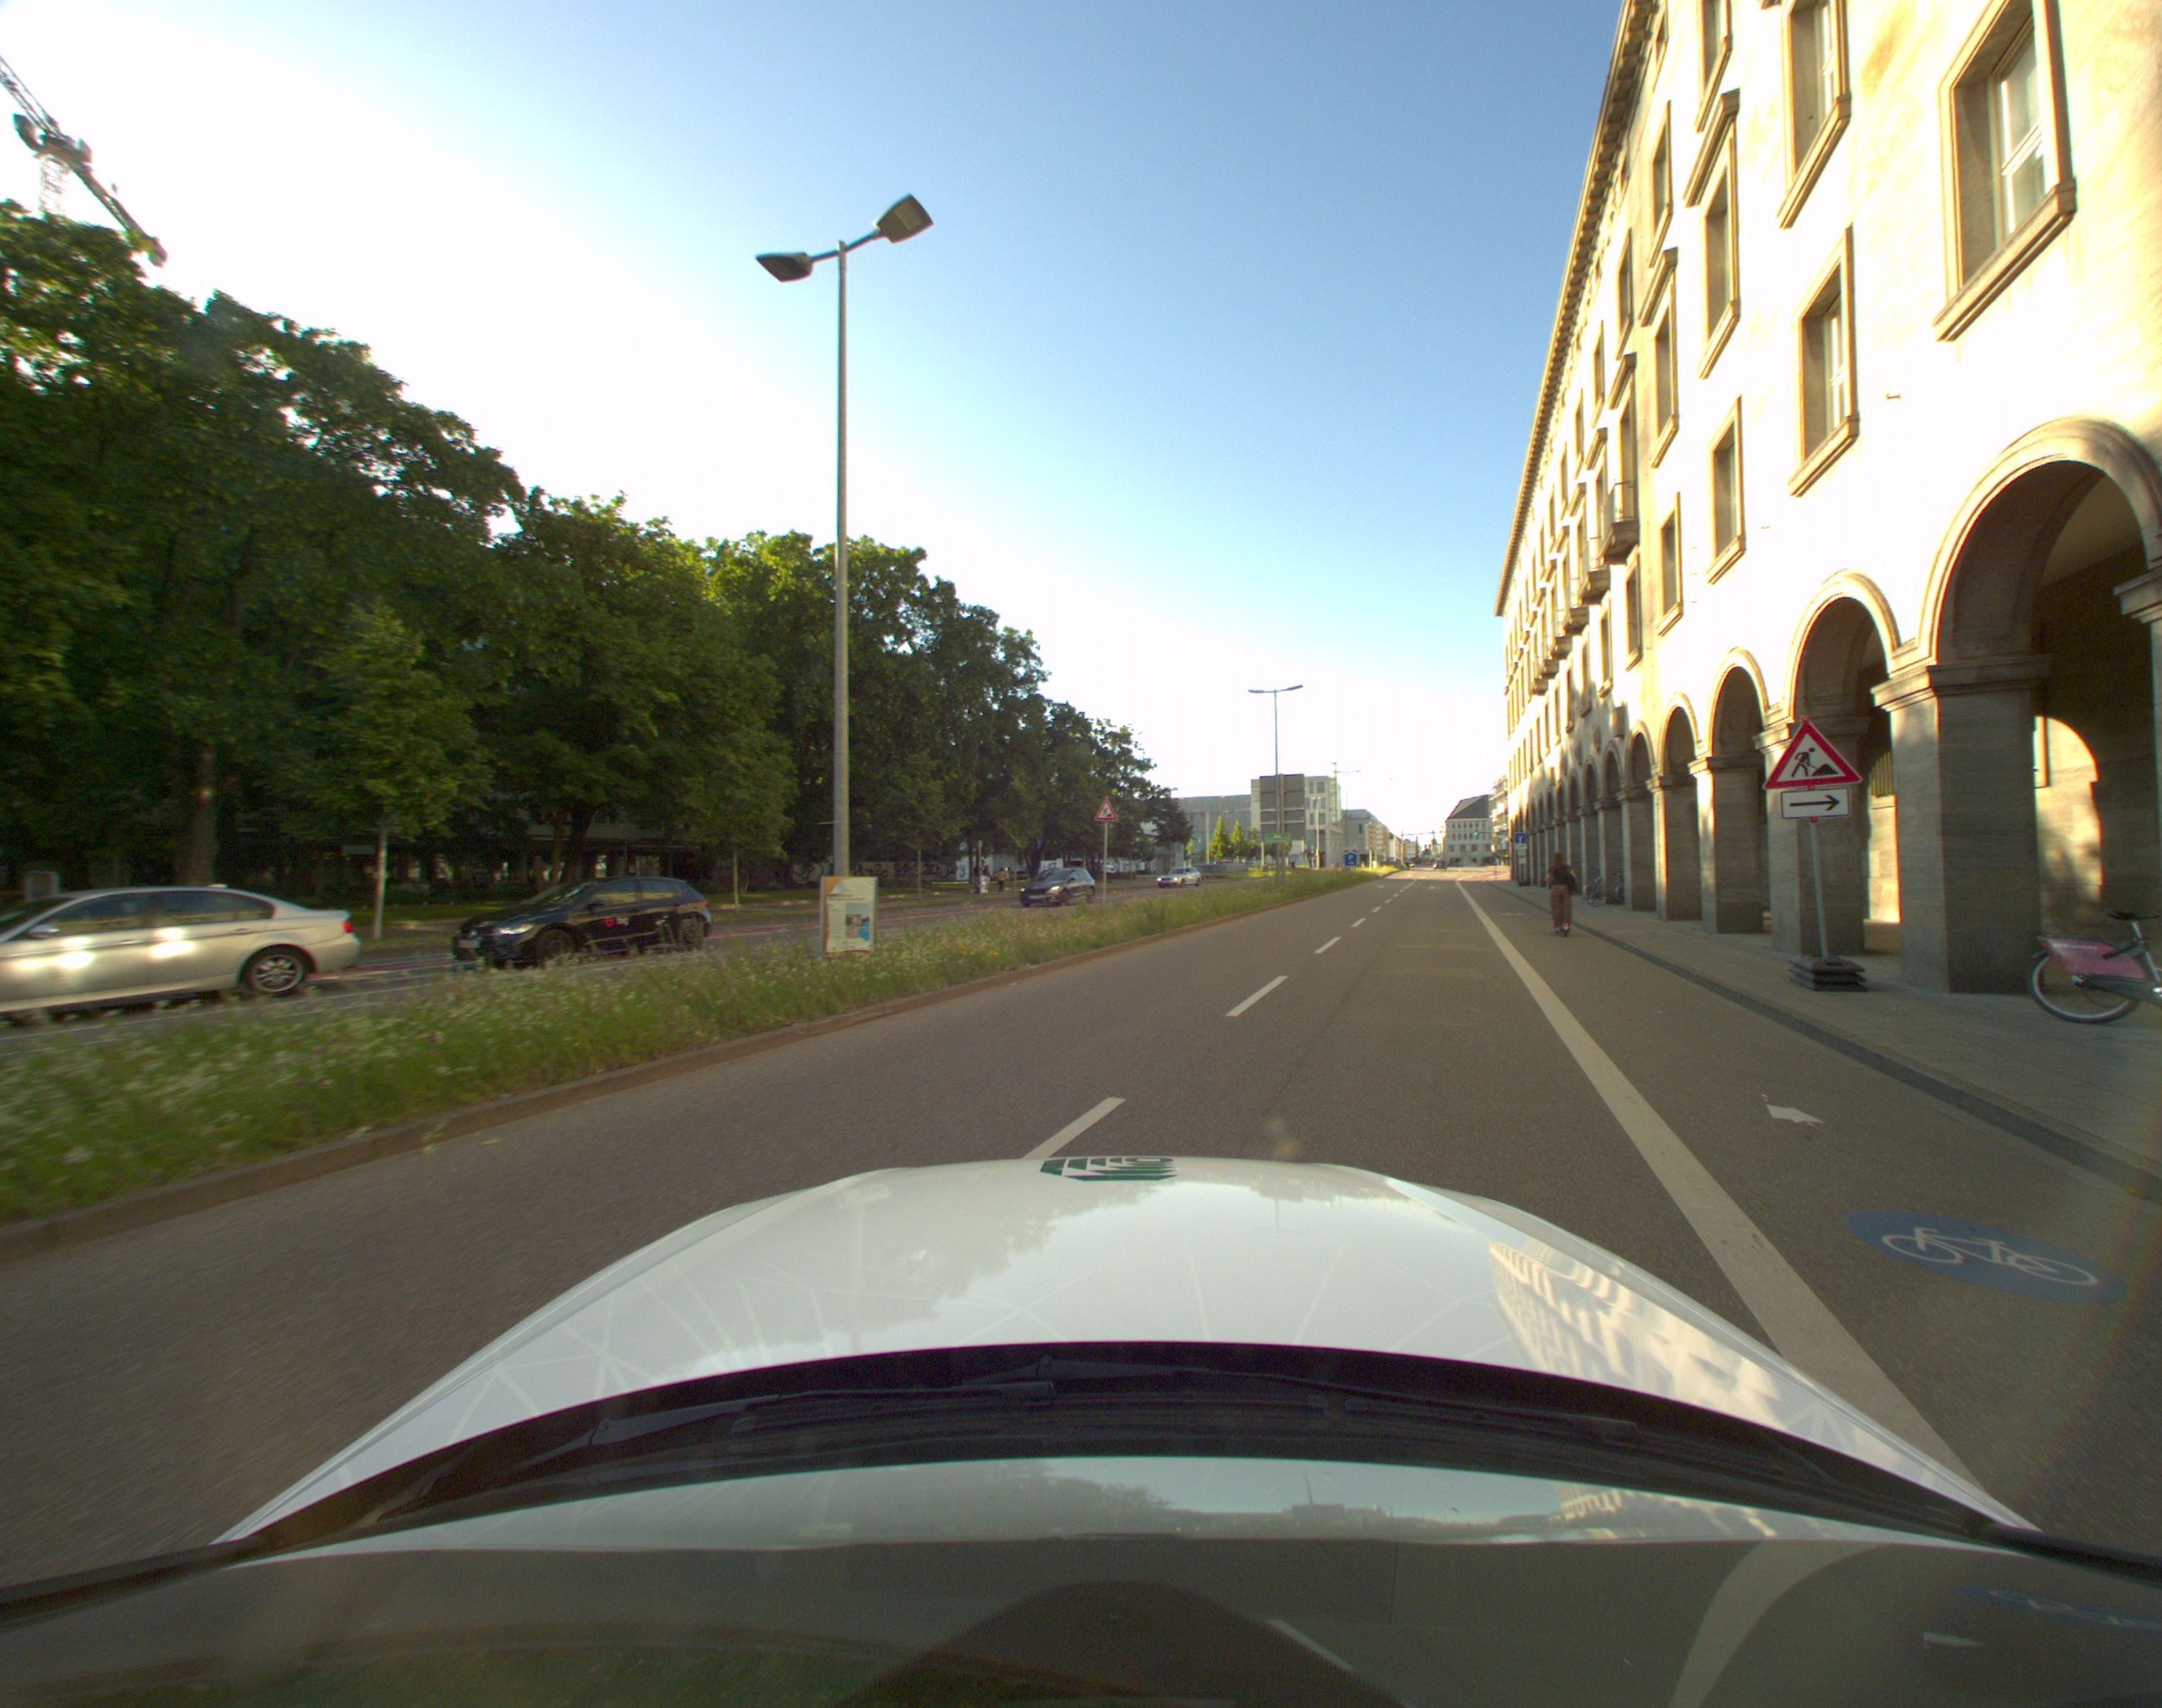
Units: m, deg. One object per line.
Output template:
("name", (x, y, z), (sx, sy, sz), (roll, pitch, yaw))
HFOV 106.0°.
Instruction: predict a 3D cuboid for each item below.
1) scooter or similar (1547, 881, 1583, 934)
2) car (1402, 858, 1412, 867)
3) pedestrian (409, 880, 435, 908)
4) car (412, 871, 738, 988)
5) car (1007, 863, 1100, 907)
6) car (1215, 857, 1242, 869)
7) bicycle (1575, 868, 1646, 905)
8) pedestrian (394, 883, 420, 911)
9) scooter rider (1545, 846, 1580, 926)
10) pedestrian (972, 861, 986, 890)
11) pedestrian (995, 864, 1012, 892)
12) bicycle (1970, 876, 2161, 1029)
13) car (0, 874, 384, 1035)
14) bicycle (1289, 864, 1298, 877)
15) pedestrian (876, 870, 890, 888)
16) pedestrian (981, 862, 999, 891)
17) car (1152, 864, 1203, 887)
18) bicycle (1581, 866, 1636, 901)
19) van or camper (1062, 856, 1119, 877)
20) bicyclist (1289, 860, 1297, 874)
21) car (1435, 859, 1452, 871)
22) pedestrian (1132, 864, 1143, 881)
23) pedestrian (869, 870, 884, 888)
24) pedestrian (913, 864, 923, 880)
("scooter or similar", (10.000, 1.081, 16.837), (0.550, 1.031, 1.124), (-2, -1, 27))
("car", (73.907, 1.942, 184.536), (1.975, 1.742, 4.672), (-1, 1, 24))
("pedestrian", (-32.046, 1.946, 39.610), (0.819, 1.340, 0.720), (-1, -1, 27))
("car", (-8.650, 1.169, 14.455), (1.975, 1.676, 4.575), (-1, -1, 24))
("car", (-0.995, 1.166, 31.740), (1.975, 1.565, 4.083), (-1, -1, 24))
("car", (25.990, 1.597, 143.517), (4.603, 1.811, 1.880), (-2, -3, 16))
("bicycle", (16.084, 0.979, 24.759), (1.697, 1.050, 0.529), (-3, -2, 9))
("pedestrian", (-32.306, 2.051, 39.029), (0.897, 1.340, 0.669), (-1, -1, 27))
("scooter rider", (10.053, 0.653, 17.013), (0.556, 1.632, 0.654), (-2, -1, 28))
("pedestrian", (-6.145, 1.320, 49.209), (0.519, 1.740, 0.659), (-1, -1, 28))
("pedestrian", (-4.621, 1.402, 48.507), (0.735, 1.641, 0.730), (-1, -1, 28))
("bicycle", (8.412, 0.754, 6.443), (0.665, 1.133, 1.699), (-2, -2, -25))
("car", (-11.308, 1.055, 9.369), (1.975, 1.561, 4.575), (-1, -1, 24))
("bicycle", (24.774, 1.927, 94.985), (0.751, 1.274, 2.271), (0, 4, 20))
("pedestrian", (-17.525, 2.237, 72.026), (0.895, 1.540, 0.898), (-1, -1, 17))
("pedestrian", (-5.451, 1.339, 48.834), (0.764, 1.740, 0.765), (-1, -1, 28))
("car", (6.761, 1.474, 56.632), (1.915, 1.526, 4.615), (-1, -1, 29))
("bicycle", (17.109, 0.950, 26.427), (1.715, 1.050, 0.607), (-2, -2, -23))
("van or camper", (0.994, 1.375, 86.002), (5.611, 2.014, 2.270), (-2, -3, 25))
("bicyclist", (24.756, 1.516, 95.015), (0.741, 1.590, 1.208), (-3, 3, 20))
("car", (50.048, 1.541, 112.616), (1.761, 1.564, 3.807), (-1, -1, 18))
("pedestrian", (5.310, 1.739, 76.359), (0.607, 1.527, 0.948), (-2, -1, 29))
("pedestrian", (-17.830, 2.200, 71.143), (0.895, 1.540, 0.898), (-1, -1, 17))
("pedestrian", (-16.800, 1.887, 84.007), (0.717, 1.641, 0.749), (-1, -1, 30))
